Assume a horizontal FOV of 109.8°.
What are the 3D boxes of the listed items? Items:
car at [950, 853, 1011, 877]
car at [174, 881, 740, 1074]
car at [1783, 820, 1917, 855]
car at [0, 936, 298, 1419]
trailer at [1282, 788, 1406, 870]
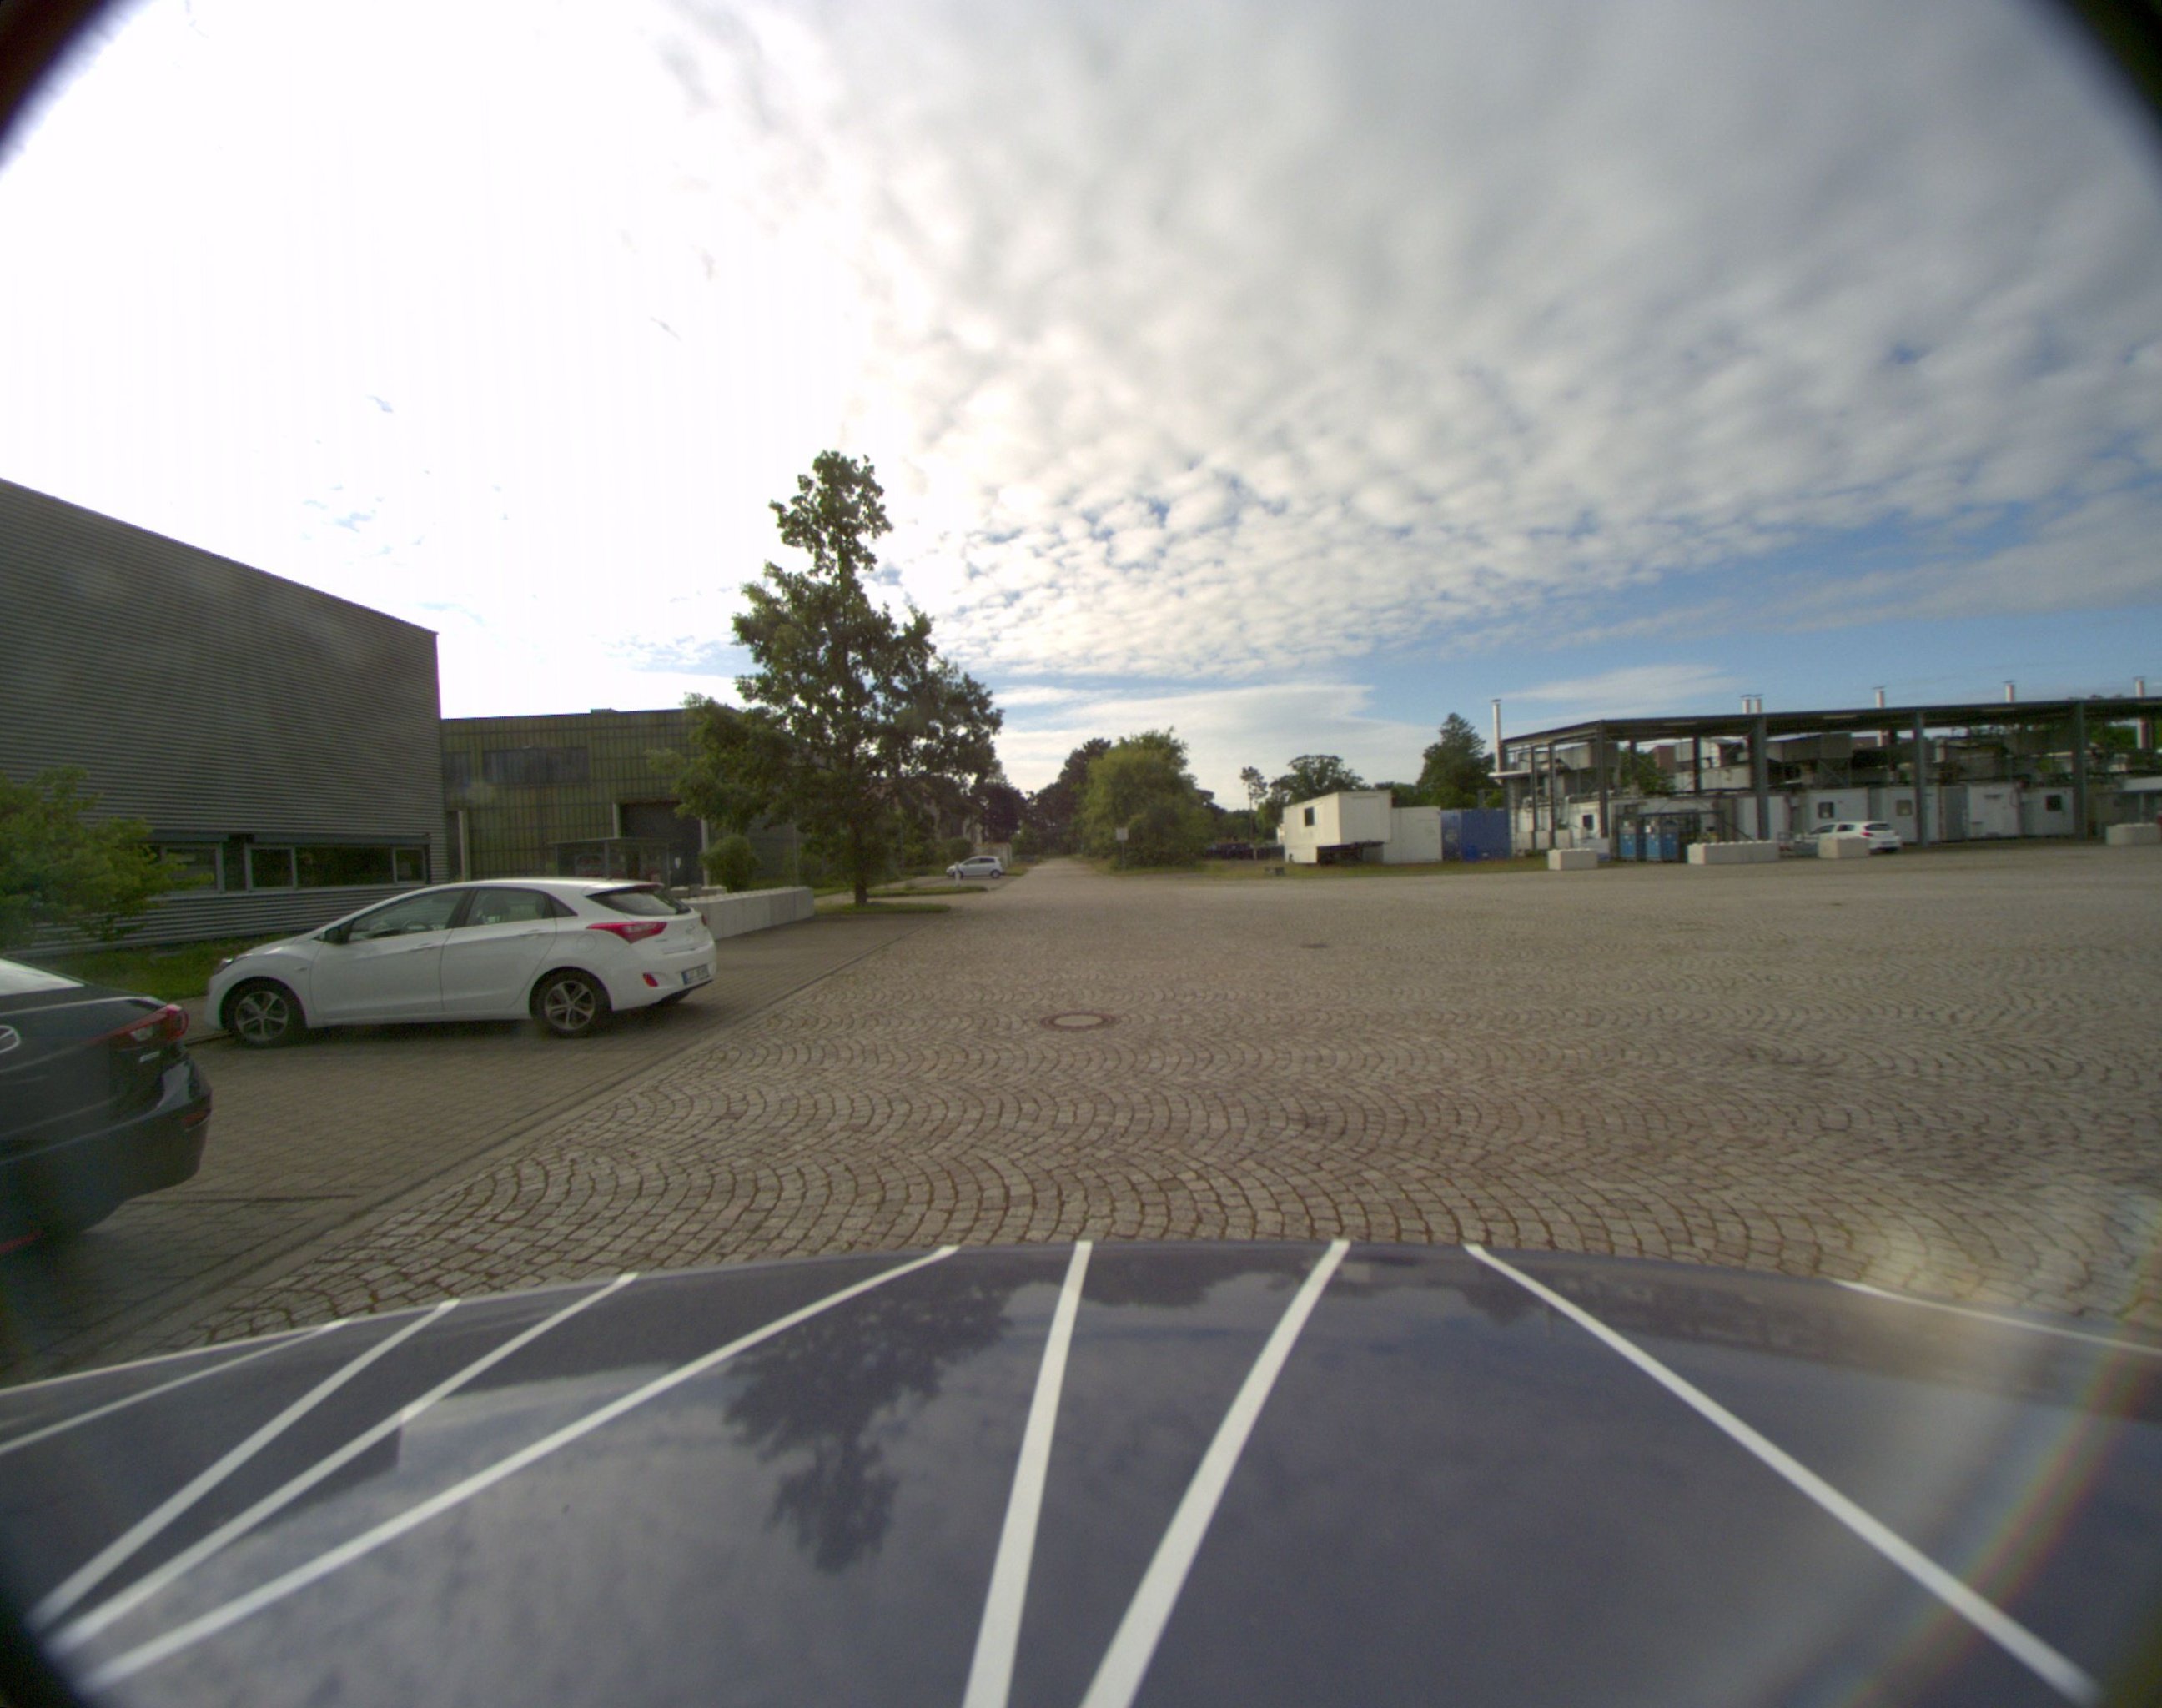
[{"bbox_3d":[-7.077,0.772,53.704,4.133,1.615,1.938,-1,1,-4],"label":"car"},{"bbox_3d":[-5.839,1.102,7.572,3.986,1.458,1.882,-2,0,-2],"label":"car"},{"bbox_3d":[35.022,-0.732,34.768,1.933,1.464,3.998,-1,1,-4],"label":"car"},{"bbox_3d":[-5.697,1.133,2.317,4.475,1.438,1.944,-1,0,-2],"label":"car"},{"bbox_3d":[13.571,-1.175,40.497,2.876,3.641,10.777,-2,0,1],"label":"trailer"}]
